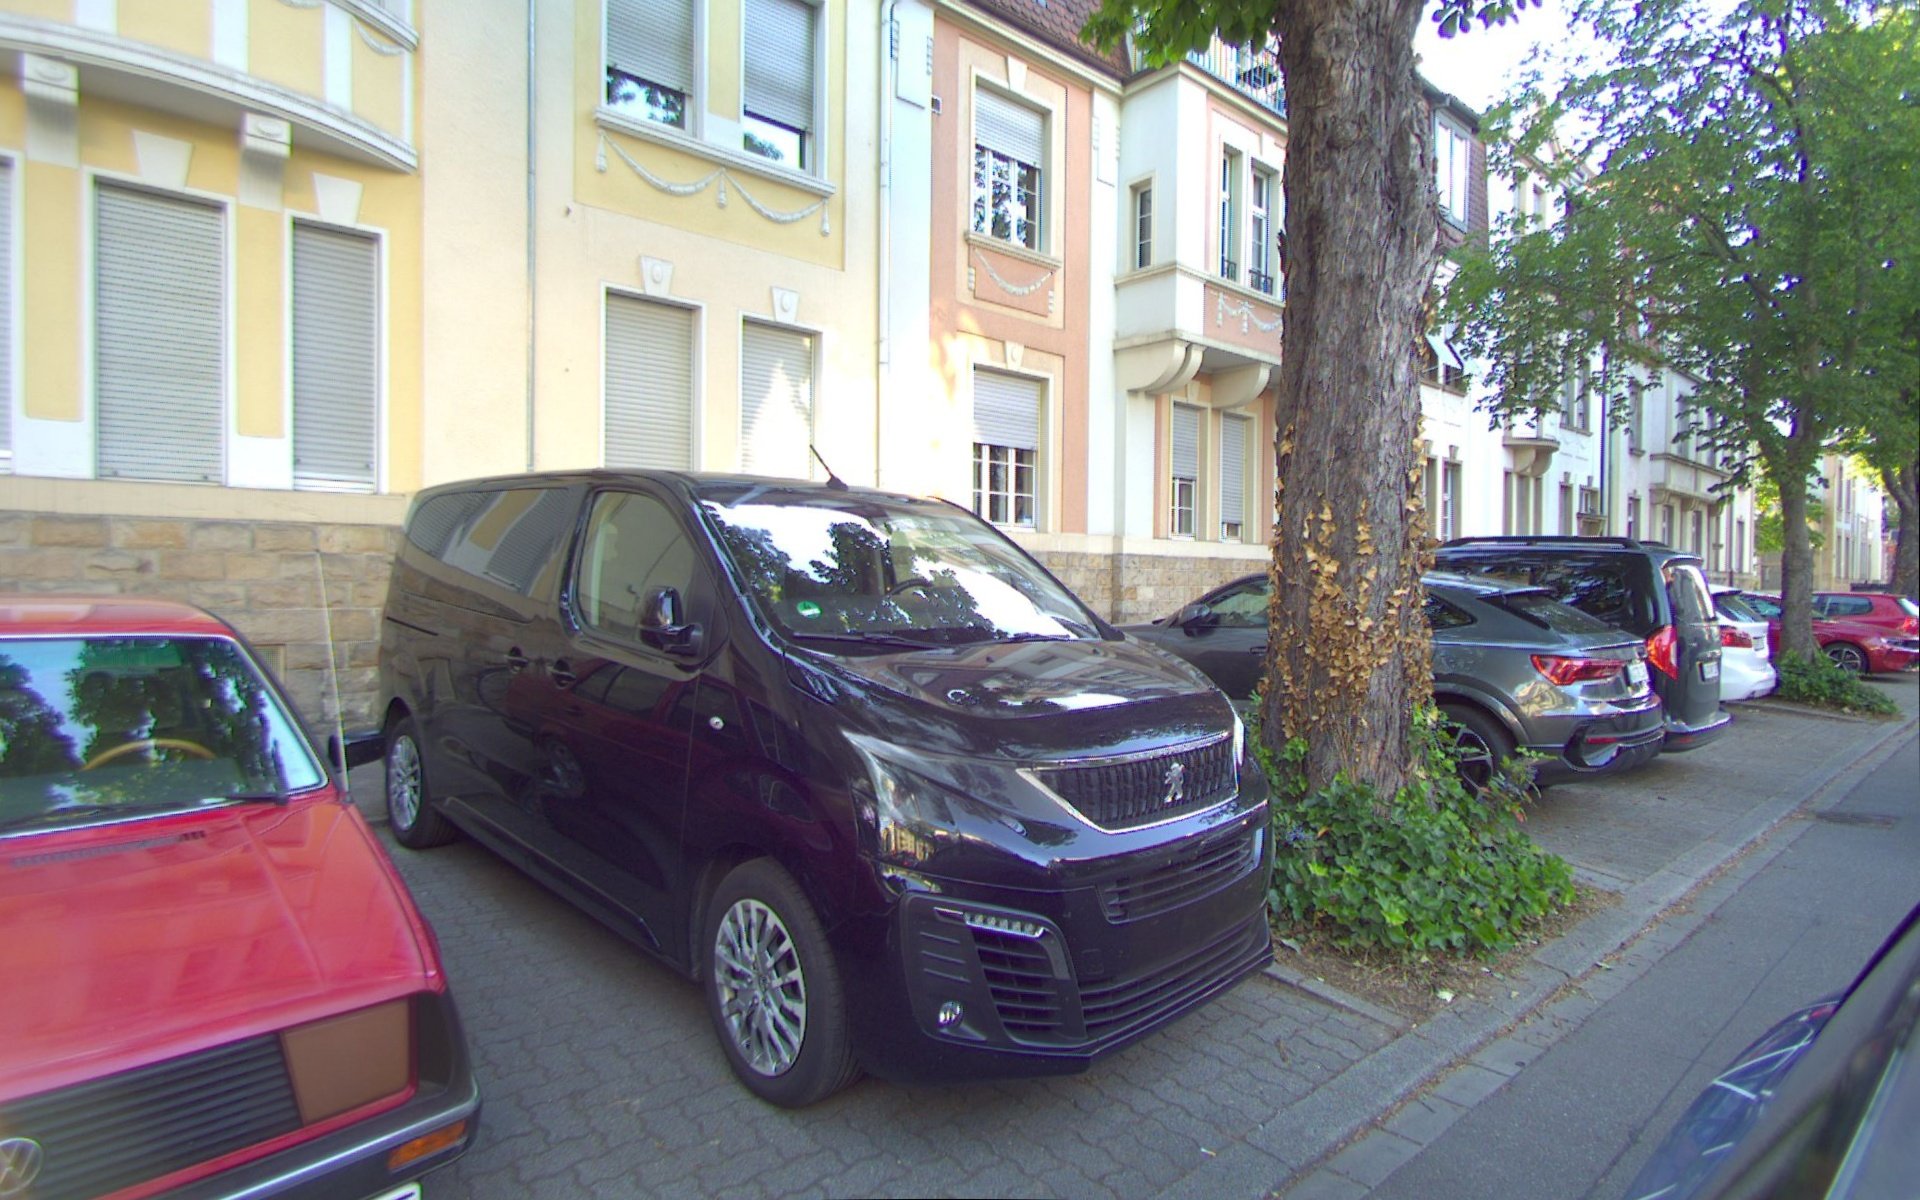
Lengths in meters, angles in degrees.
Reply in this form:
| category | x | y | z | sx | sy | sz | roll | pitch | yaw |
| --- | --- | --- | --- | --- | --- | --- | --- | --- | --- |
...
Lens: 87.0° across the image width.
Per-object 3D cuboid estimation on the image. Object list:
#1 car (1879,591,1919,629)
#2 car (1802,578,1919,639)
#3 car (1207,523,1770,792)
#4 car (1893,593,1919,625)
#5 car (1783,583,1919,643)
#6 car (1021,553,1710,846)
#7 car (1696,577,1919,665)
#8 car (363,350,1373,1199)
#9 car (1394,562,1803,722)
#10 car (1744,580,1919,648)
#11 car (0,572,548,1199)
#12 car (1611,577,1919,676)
| category | x | y | z | sx | sy | sz | roll | pitch | yaw |
| --- | --- | --- | --- | --- | --- | --- | --- | --- | --- |
| car | 31.899 | 0.371 | 32.462 | 1.515 | 1.164 | 3.399 | 0 | 3 | -39 |
| car | 25.873 | 0.224 | 28.027 | 1.548 | 1.576 | 3.681 | 0 | 3 | -39 |
| car | 4.520 | 0.305 | 9.142 | 1.814 | 1.860 | 4.116 | -1 | 3 | -42 |
| car | 34.279 | 0.370 | 34.525 | 1.515 | 1.076 | 3.399 | 0 | 3 | -39 |
| car | 24.007 | 0.313 | 26.407 | 1.548 | 1.416 | 3.681 | 0 | 3 | -39 |
| car | 2.745 | 0.451 | 7.699 | 1.815 | 1.542 | 4.513 | -1 | 3 | -44 |
| car | 16.897 | 0.348 | 19.814 | 1.628 | 1.499 | 3.682 | 0 | 2 | -38 |
| car | -0.938 | 0.323 | 4.472 | 1.867 | 1.897 | 4.753 | -1 | 3 | -44 |
| car | 7.704 | 0.373 | 12.522 | 1.689 | 1.597 | 3.948 | 0 | 3 | -41 |
| car | 21.855 | 0.291 | 24.969 | 1.548 | 1.484 | 3.681 | 0 | 3 | -39 |
| car | -2.874 | 0.627 | 3.032 | 1.603 | 1.332 | 4.139 | -1 | 3 | -44 |
| car | 14.788 | 0.378 | 18.459 | 1.833 | 1.470 | 4.533 | 0 | 3 | -38 |
